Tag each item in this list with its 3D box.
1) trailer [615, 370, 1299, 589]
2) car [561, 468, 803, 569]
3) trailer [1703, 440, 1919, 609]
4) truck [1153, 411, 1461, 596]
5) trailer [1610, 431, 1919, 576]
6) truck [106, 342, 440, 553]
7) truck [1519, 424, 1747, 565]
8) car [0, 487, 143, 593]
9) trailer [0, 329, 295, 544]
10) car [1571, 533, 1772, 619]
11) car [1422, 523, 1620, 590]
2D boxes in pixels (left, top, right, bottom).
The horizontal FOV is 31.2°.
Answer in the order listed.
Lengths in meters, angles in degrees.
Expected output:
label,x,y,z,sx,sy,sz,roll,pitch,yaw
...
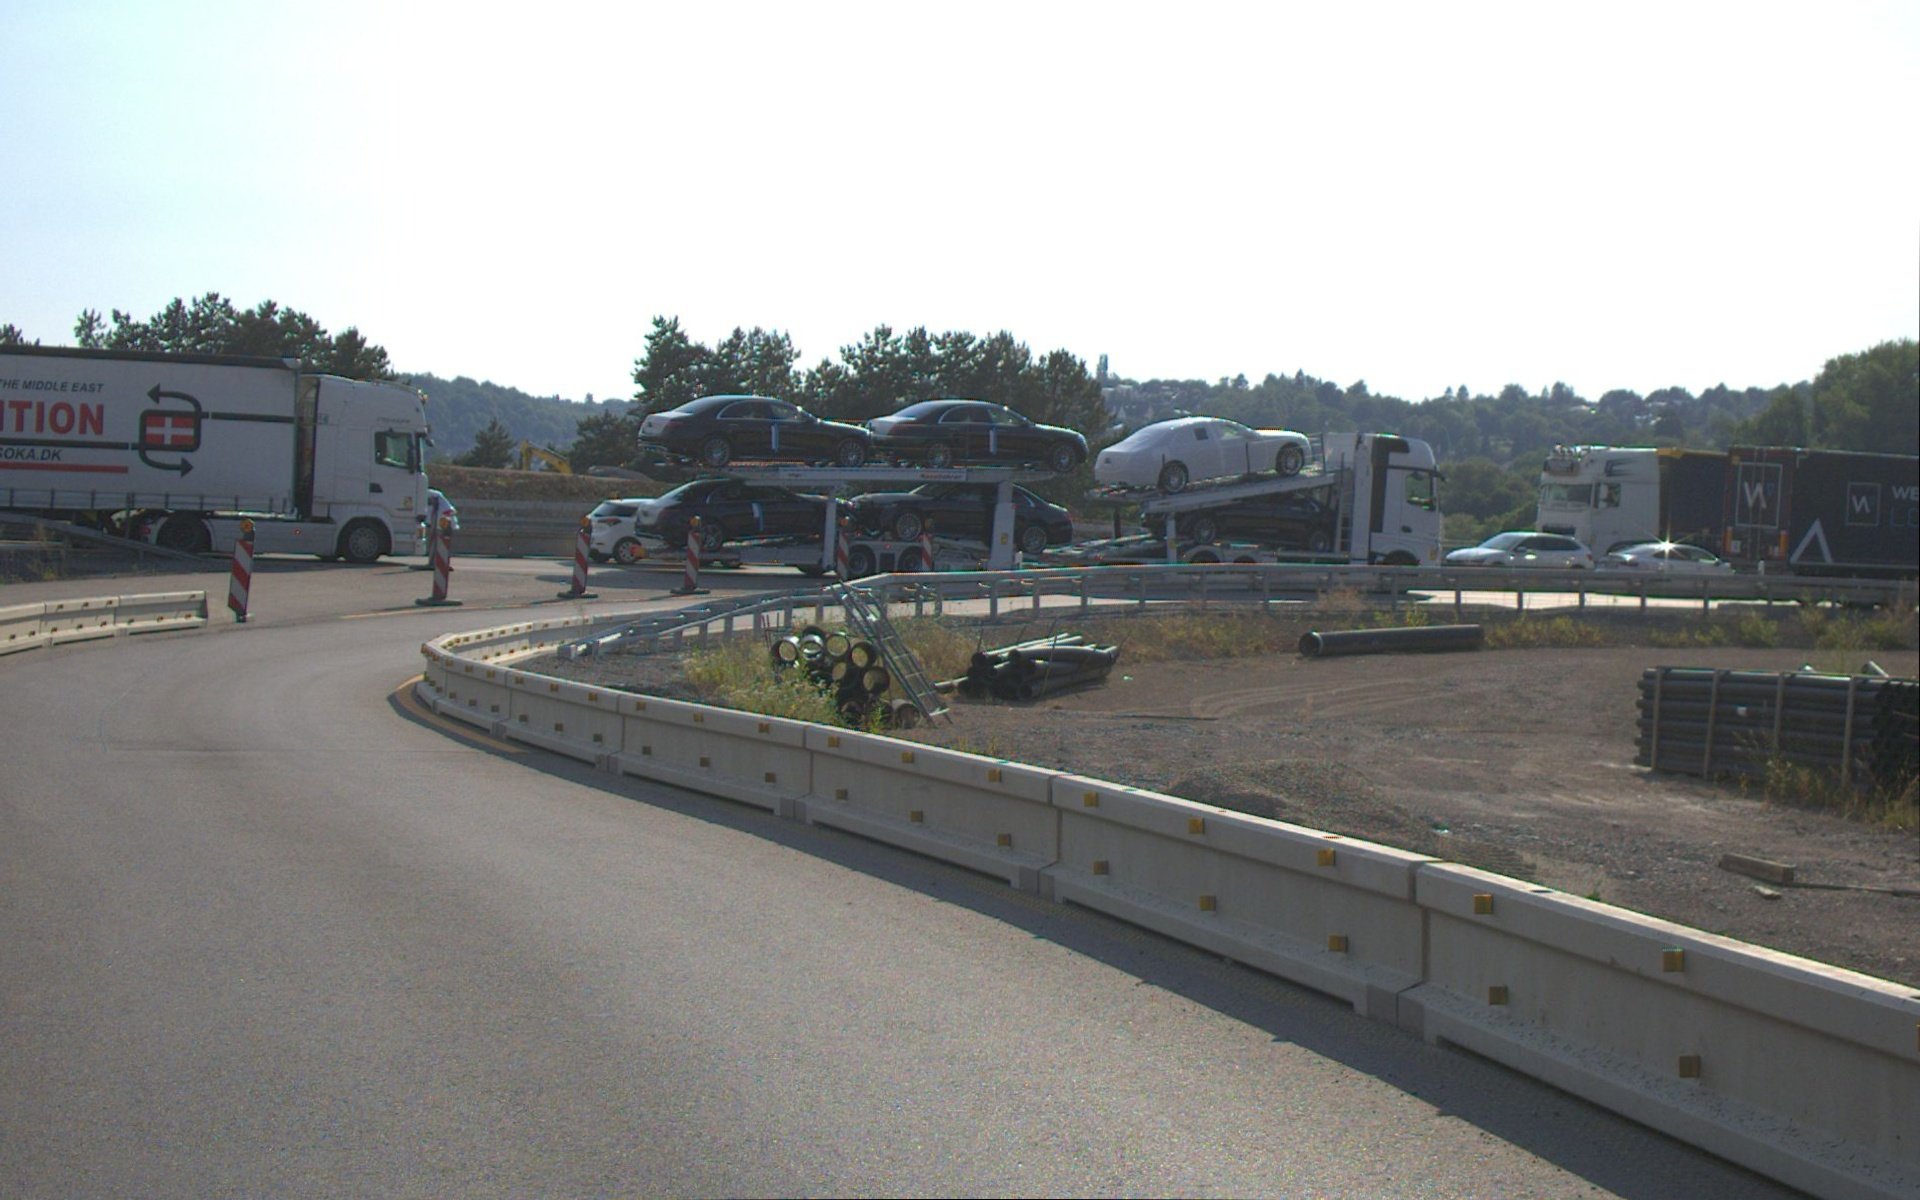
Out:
label,x,y,z,sx,sy,sz,roll,pitch,yaw
trailer,0.177,-2.616,77.255,15.691,3.982,2.867,2,1,-28
car,-6.295,-1.848,77.841,4.962,1.974,2.036,2,3,-27
trailer,24.838,-1.839,90.382,10.755,4.078,2.969,3,1,-27
truck,8.252,-2.283,81.596,6.601,3.982,2.858,2,1,-28
trailer,24.040,-2.799,101.565,9.537,3.739,3.017,2,0,-27
truck,-13.937,-3.059,69.838,5.991,3.865,2.489,3,2,-29
truck,19.425,-3.015,99.172,5.668,3.714,3.007,2,0,-28
car,-19.546,-1.285,70.620,4.962,1.974,2.036,2,3,-27
trailer,-19.944,-3.365,66.535,13.584,3.865,2.489,3,2,-29
car,18.974,-0.637,91.638,4.962,1.974,2.036,2,3,-27
car,15.229,-1.174,93.259,4.962,1.495,2.036,2,3,-27
